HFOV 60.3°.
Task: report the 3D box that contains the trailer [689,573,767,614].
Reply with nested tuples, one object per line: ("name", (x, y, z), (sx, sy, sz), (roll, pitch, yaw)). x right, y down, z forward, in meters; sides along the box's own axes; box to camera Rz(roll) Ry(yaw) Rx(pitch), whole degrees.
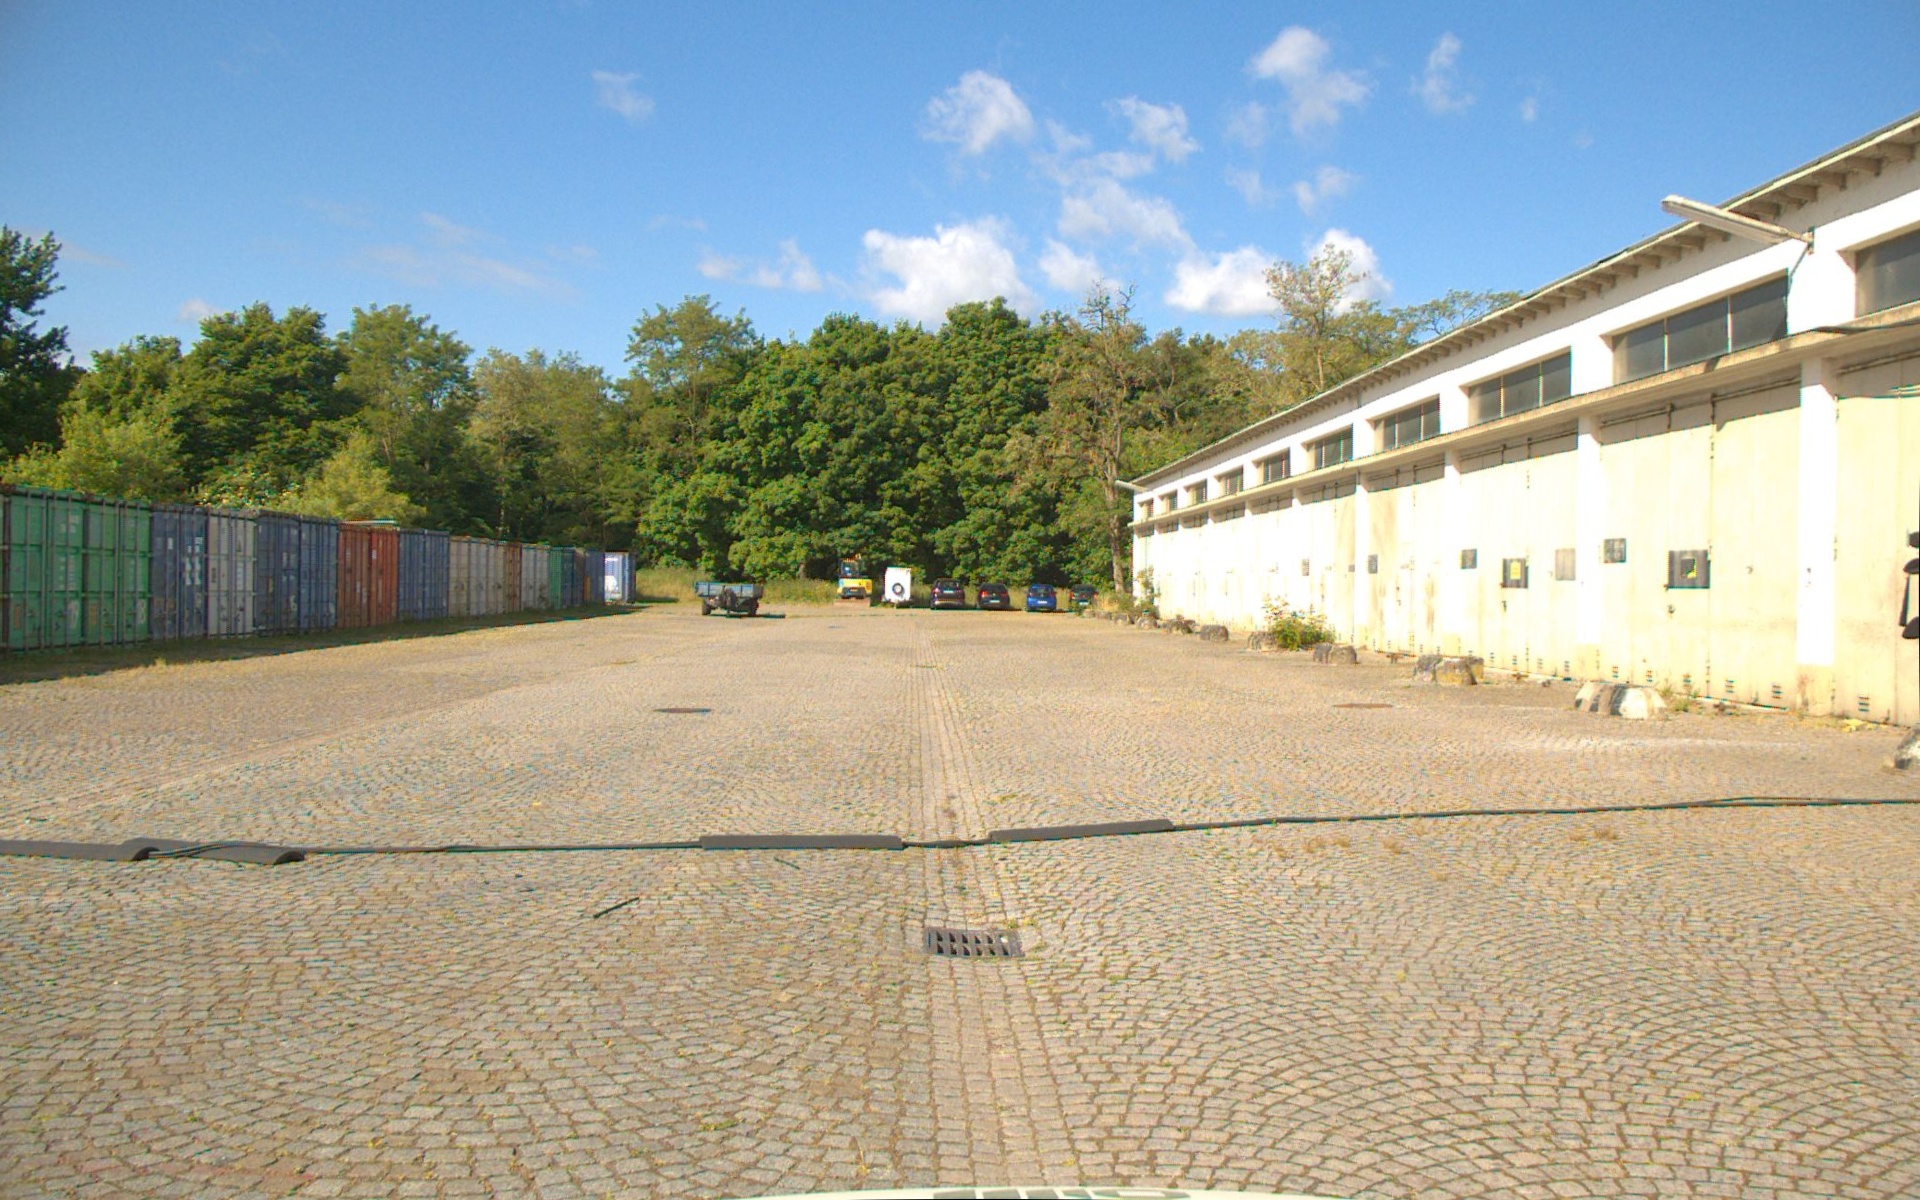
("trailer", (-9.876, -0.300, 70.886), (2.735, 1.675, 5.618), (1, 0, -3))

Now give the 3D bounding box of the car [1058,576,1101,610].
("car", (6.509, -0.398, 90.398), (1.953, 1.803, 3.999), (1, 1, -2))

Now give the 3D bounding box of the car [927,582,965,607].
("car", (-0.773, -0.301, 88.534), (1.953, 1.280, 3.999), (1, 1, -2))

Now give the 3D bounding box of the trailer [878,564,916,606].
("trailer", (-3.419, -0.835, 89.672), (1.953, 2.200, 4.430), (1, 1, -2))

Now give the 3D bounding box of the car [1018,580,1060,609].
("car", (4.231, -0.296, 89.073), (1.953, 1.491, 3.999), (1, 1, -2))

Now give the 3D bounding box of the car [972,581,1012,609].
("car", (1.692, -0.294, 88.995), (1.953, 1.449, 3.999), (1, 1, -2))

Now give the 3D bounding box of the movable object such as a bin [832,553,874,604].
("movable object such as a bin", (-5.850, -1.157, 90.342), (2.188, 2.703, 3.997), (1, 1, -4))
